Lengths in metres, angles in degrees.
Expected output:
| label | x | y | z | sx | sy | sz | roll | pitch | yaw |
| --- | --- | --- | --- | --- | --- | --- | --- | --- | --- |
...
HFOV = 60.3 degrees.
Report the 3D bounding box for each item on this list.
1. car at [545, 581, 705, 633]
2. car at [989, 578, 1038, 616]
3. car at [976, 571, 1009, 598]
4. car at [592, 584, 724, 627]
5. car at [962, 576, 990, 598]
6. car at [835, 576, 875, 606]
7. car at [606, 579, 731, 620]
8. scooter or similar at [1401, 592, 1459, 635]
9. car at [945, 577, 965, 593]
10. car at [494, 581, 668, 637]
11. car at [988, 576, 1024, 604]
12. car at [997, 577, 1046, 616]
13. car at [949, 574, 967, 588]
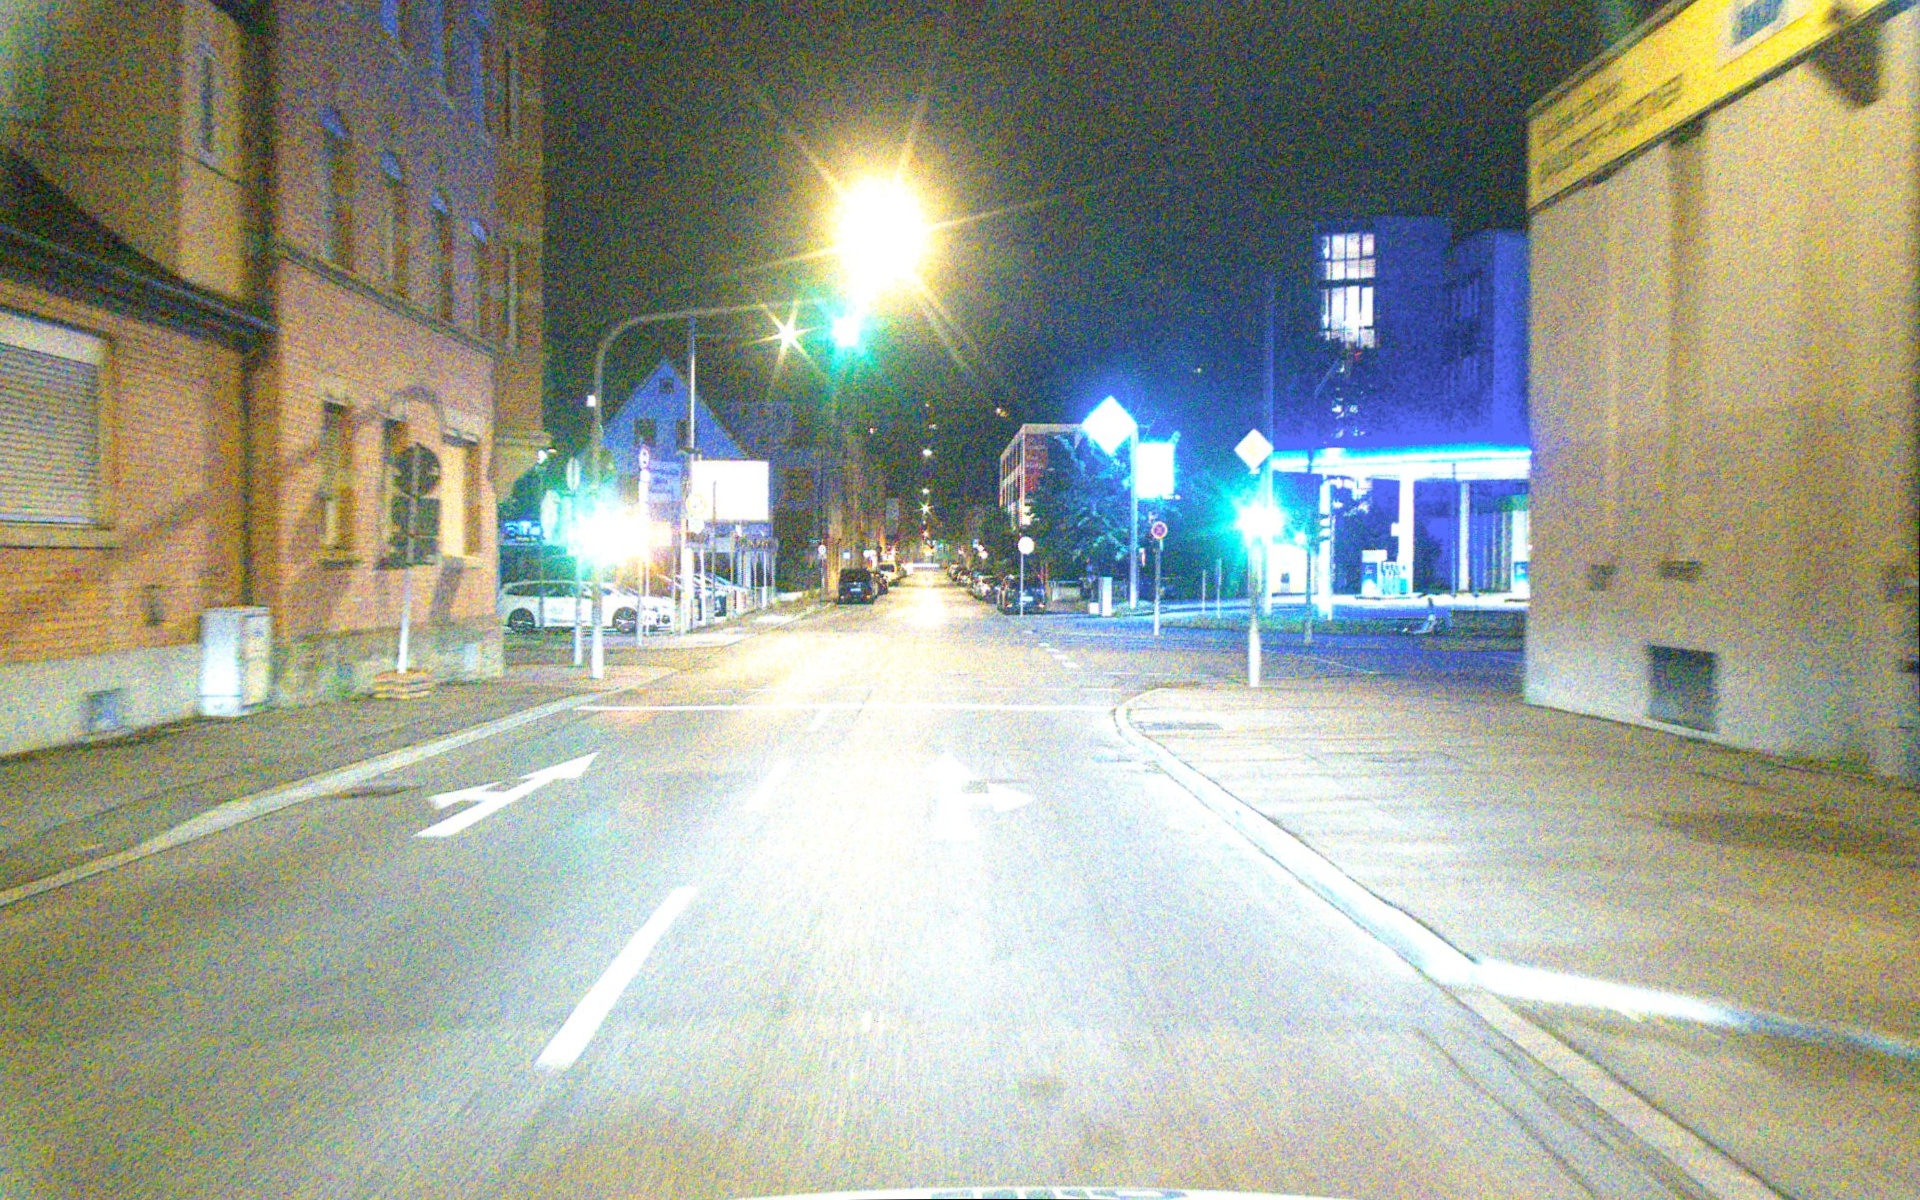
| label | x | y | z | sx | sy | sz | roll | pitch | yaw |
| --- | --- | --- | --- | --- | --- | --- | --- | --- | --- |
| car | -9.838 | 0.204 | 48.816 | 4.350 | 1.475 | 1.999 | 0 | 0 | -3 |
| car | 2.414 | -0.153 | 75.369 | 1.953 | 1.623 | 3.999 | 1 | 1 | -2 |
| car | 1.962 | -0.931 | 100.745 | 1.952 | 1.546 | 4.000 | 0 | 0 | 0 |
| car | -10.790 | 0.181 | 59.302 | 4.349 | 1.475 | 1.999 | 0 | 0 | -2 |
| car | 1.163 | -0.892 | 118.143 | 1.952 | 1.546 | 4.000 | 0 | 0 | 0 |
| car | -5.583 | -0.470 | 88.208 | 1.953 | 1.528 | 3.999 | 0 | 0 | -1 |
| car | -10.927 | -0.013 | 62.158 | 4.349 | 1.475 | 1.999 | 0 | 0 | -2 |
| scooter or similar | 12.949 | 0.357 | 45.534 | 1.664 | 1.111 | 0.707 | -2 | 2 | -39 |
| car | -0.516 | -1.494 | 165.936 | 1.952 | 1.546 | 4.000 | 0 | 0 | 0 |
| car | -10.402 | 0.243 | 45.659 | 4.349 | 1.475 | 1.999 | 0 | 0 | -2 |
| car | 2.584 | -0.573 | 93.626 | 1.952 | 1.546 | 4.000 | 0 | 0 | 0 |
| car | 2.566 | -0.171 | 69.964 | 1.952 | 1.542 | 4.000 | 1 | 1 | 0 |
| car | -0.219 | -2.118 | 189.133 | 1.952 | 1.546 | 4.000 | 0 | 0 | 0 |
